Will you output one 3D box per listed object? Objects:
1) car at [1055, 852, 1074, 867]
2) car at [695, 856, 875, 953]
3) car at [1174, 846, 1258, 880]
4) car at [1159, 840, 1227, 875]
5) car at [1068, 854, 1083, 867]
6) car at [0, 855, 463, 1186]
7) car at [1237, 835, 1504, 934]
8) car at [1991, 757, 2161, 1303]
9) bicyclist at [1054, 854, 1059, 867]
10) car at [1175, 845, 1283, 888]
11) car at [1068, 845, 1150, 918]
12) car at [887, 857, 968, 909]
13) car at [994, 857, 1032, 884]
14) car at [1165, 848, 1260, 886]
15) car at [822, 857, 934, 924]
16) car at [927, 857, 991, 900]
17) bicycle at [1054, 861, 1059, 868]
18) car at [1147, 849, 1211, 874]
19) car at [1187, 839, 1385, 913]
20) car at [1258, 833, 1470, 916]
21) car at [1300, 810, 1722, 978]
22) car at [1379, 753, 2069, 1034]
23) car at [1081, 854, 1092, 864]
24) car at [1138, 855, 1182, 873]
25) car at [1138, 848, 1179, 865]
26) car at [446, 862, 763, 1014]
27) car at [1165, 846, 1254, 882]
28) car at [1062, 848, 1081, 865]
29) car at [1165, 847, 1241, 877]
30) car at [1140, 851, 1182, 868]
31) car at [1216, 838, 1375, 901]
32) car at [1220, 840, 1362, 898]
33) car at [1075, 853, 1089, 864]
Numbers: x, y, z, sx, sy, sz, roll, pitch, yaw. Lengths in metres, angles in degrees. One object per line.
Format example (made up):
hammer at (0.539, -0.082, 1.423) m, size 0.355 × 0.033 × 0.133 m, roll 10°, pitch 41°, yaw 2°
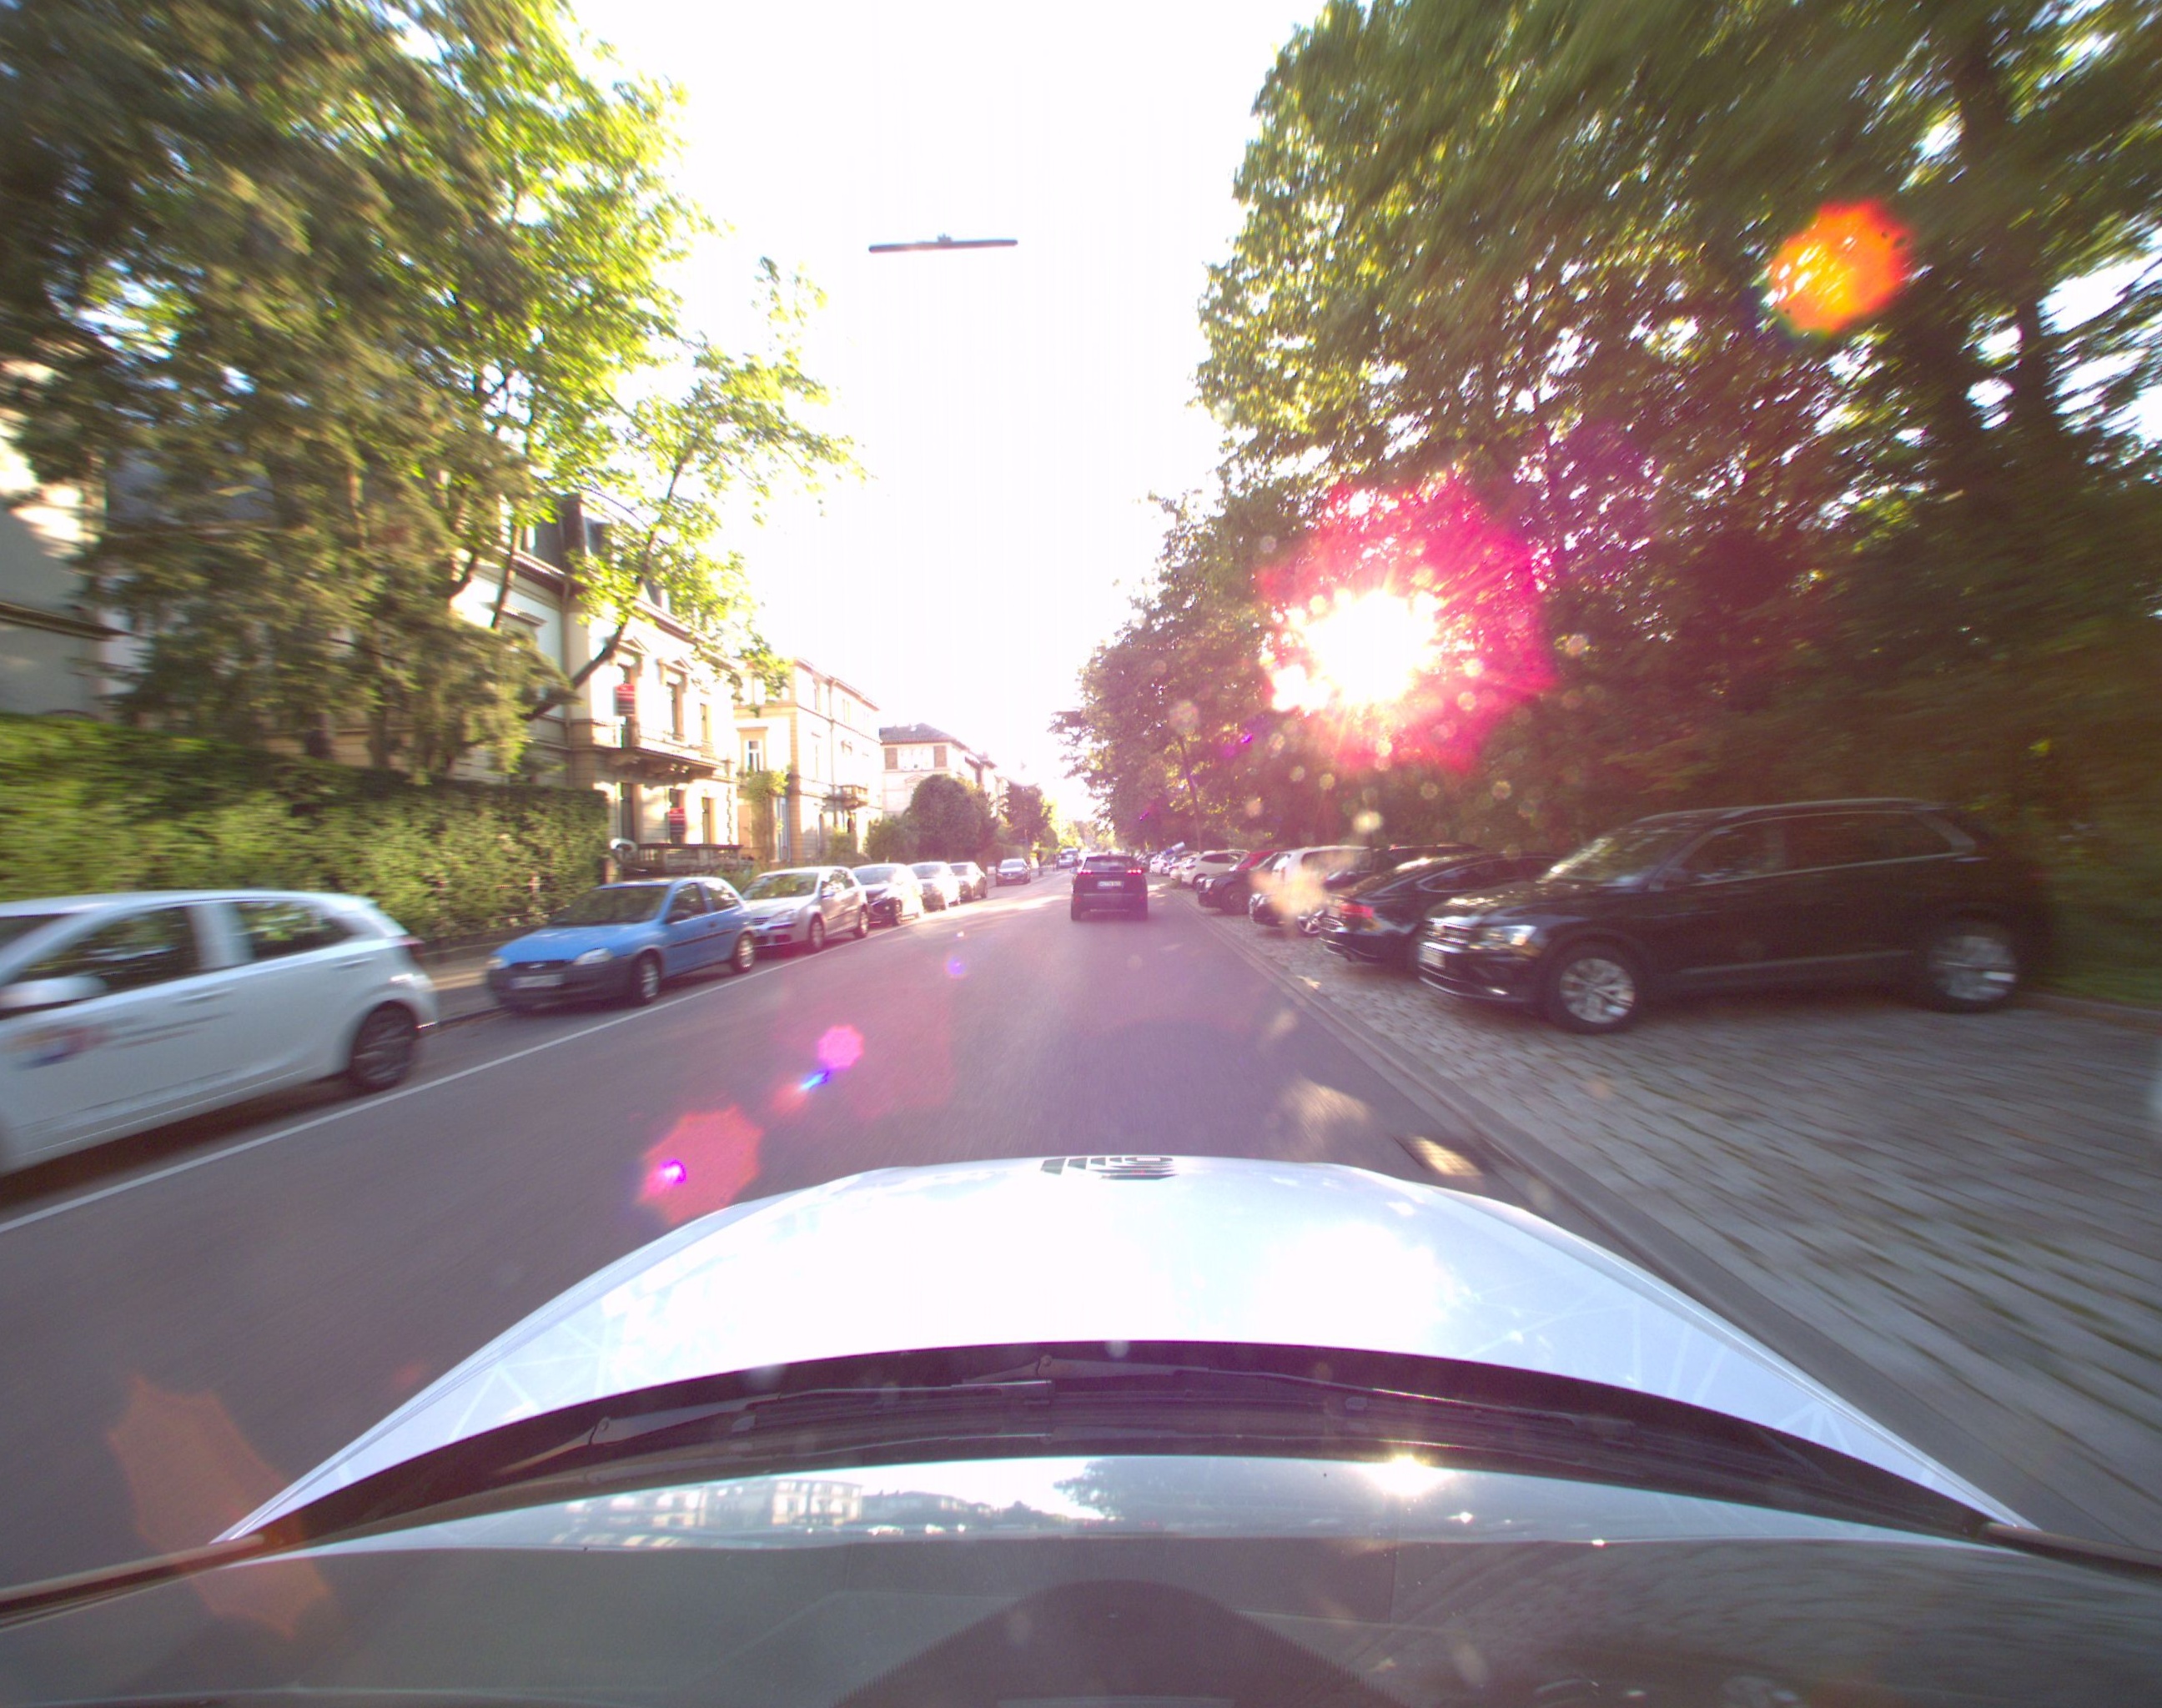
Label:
car at (-1.868, 0.611, 92.513) m, size 1.892 × 1.574 × 4.002 m, roll -1°, pitch -1°, yaw 2°
car at (-5.204, 0.820, 14.927) m, size 1.607 × 1.466 × 4.038 m, roll -2°, pitch -1°, yaw 3°
car at (6.910, 0.439, 41.967) m, size 3.978 × 1.624 × 1.756 m, roll -1°, pitch -1°, yaw -3°
car at (7.016, 0.204, 51.451) m, size 3.978 × 2.089 × 1.756 m, roll -1°, pitch -1°, yaw -3°
car at (-0.743, 0.948, 114.986) m, size 1.986 × 1.768 × 4.001 m, roll -1°, pitch -1°, yaw 2°
car at (-5.766, 0.818, 4.600) m, size 1.608 × 1.515 × 3.712 m, roll -4°, pitch -1°, yaw 1°
car at (4.976, 0.523, 14.484) m, size 4.137 × 1.449 × 1.733 m, roll -3°, pitch -1°, yaw 5°
car at (5.018, 0.423, 1.798) m, size 3.972 × 1.554 × 1.726 m, roll -2°, pitch -1°, yaw 2°
bicyclist at (-3.647, 0.965, 119.433) m, size 0.691 × 1.792 × 0.772 m, roll -1°, pitch -1°, yaw -1°
car at (5.752, 0.488, 31.896) m, size 3.798 × 1.449 × 1.824 m, roll -3°, pitch -1°, yaw -2°
car at (0.616, 0.602, 19.913) m, size 1.766 × 1.568 × 4.108 m, roll 1°, pitch 0°, yaw 0°
car at (-4.804, 0.870, 26.035) m, size 1.607 × 1.466 × 4.038 m, roll -2°, pitch -1°, yaw 3°
car at (-3.882, 0.919, 47.191) m, size 1.746 × 1.414 × 3.764 m, roll -4°, pitch 0°, yaw 1°
car at (5.953, 0.580, 37.166) m, size 3.978 × 1.624 × 1.756 m, roll -1°, pitch -1°, yaw -3°
car at (-5.026, 0.856, 20.701) m, size 1.607 × 1.466 × 4.038 m, roll -2°, pitch -1°, yaw 3°
car at (-4.544, 0.890, 30.891) m, size 1.607 × 1.466 × 4.038 m, roll -2°, pitch -1°, yaw 3°
bicycle at (-3.639, 1.602, 119.456) m, size 0.689 × 1.015 × 2.048 m, roll -1°, pitch -1°, yaw -1°
car at (6.523, 0.492, 54.233) m, size 3.978 × 1.526 × 1.756 m, roll -1°, pitch -1°, yaw -3°
car at (4.830, 0.514, 19.662) m, size 4.229 × 1.449 × 2.021 m, roll -3°, pitch -1°, yaw 0°
car at (5.753, 0.416, 16.952) m, size 3.789 × 1.449 × 1.829 m, roll -3°, pitch -1°, yaw 5°
car at (4.822, 0.436, 9.582) m, size 3.972 × 1.554 × 1.726 m, roll -4°, pitch -1°, yaw 2°
car at (5.012, 0.305, 6.887) m, size 4.229 × 1.789 × 1.884 m, roll -4°, pitch -1°, yaw 2°
car at (1.053, 0.994, 153.838) m, size 1.986 × 1.816 × 4.002 m, roll -1°, pitch -1°, yaw 2°
car at (7.393, 0.928, 76.608) m, size 3.970 × 1.526 × 1.759 m, roll -1°, pitch -1°, yaw 3°
car at (7.738, 0.241, 81.608) m, size 3.970 × 1.623 × 1.759 m, roll -1°, pitch -1°, yaw 3°
car at (-5.581, 0.868, 10.158) m, size 1.607 × 1.485 × 3.743 m, roll -2°, pitch -1°, yaw 2°
car at (6.176, 0.484, 39.435) m, size 3.978 × 1.624 × 1.756 m, roll -1°, pitch -1°, yaw -3°
car at (-1.178, 0.356, 103.122) m, size 1.985 × 2.014 × 4.003 m, roll -1°, pitch -1°, yaw 3°
car at (6.935, 0.463, 46.529) m, size 3.978 × 1.624 × 1.756 m, roll -1°, pitch -1°, yaw -3°
car at (7.769, 0.515, 79.361) m, size 3.970 × 1.526 × 1.759 m, roll -1°, pitch -1°, yaw 3°
car at (5.829, 0.426, 22.436) m, size 3.798 × 1.449 × 1.876 m, roll -3°, pitch -1°, yaw -2°
car at (6.352, 0.442, 24.931) m, size 3.798 × 1.510 × 1.824 m, roll -3°, pitch -1°, yaw -2°
car at (0.141, 0.742, 130.762) m, size 1.986 × 1.816 × 4.002 m, roll -1°, pitch -1°, yaw 2°
